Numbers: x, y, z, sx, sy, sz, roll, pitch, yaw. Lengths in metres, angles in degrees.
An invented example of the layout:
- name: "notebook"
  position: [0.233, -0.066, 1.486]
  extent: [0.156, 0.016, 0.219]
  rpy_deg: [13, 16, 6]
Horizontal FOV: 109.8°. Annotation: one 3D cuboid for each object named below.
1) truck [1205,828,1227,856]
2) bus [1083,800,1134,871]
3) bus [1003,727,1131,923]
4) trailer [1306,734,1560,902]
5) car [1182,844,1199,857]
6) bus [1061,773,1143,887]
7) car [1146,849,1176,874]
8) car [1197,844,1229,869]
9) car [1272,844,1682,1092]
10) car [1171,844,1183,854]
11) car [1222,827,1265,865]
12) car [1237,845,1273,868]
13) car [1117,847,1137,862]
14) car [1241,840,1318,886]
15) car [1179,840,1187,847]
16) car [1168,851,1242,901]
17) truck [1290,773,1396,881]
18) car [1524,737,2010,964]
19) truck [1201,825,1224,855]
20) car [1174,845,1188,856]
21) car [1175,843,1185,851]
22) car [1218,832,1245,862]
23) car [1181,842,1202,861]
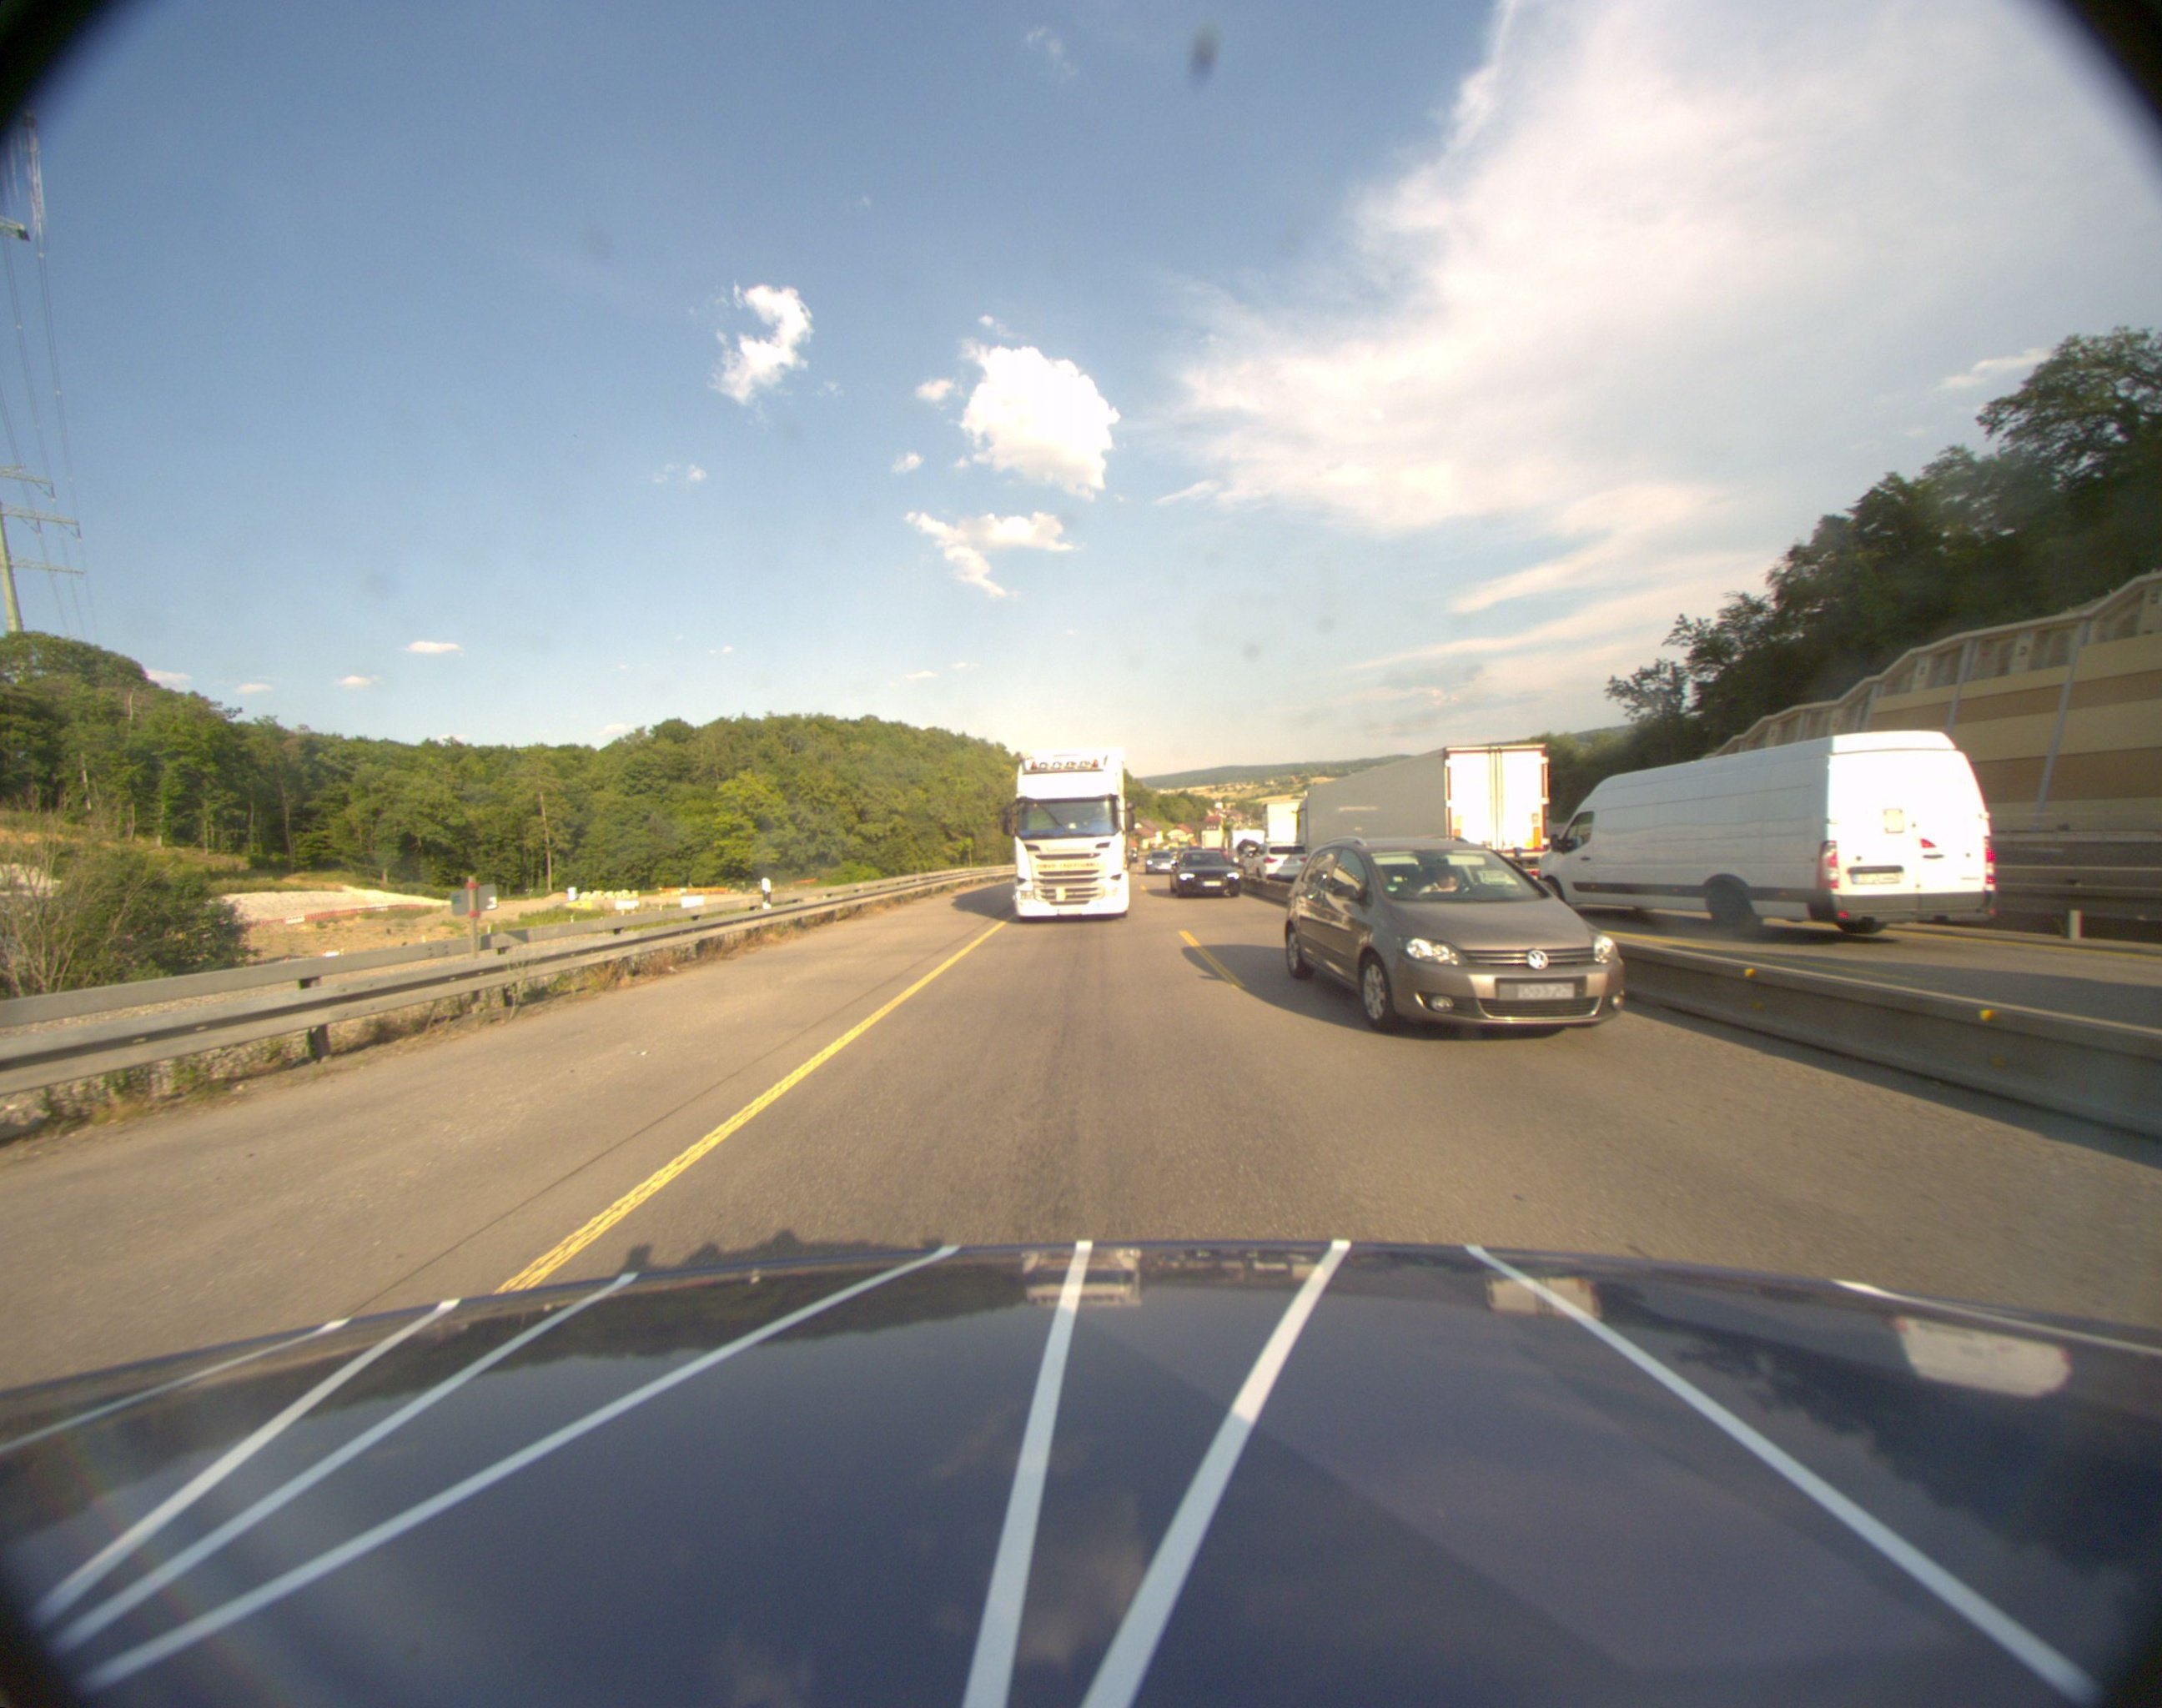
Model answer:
- name: "truck"
  position: [17.640, -1.545, 99.491]
  extent: [2.452, 3.443, 7.621]
  rpy_deg: [-1, 1, 8]
- name: "bus"
  position: [2.165, -1.261, 54.936]
  extent: [2.984, 4.553, 10.906]
  rpy_deg: [-1, 0, 5]
- name: "bus"
  position: [0.009, -0.716, 21.582]
  extent: [2.635, 4.077, 11.314]
  rpy_deg: [-1, 1, 3]
- name: "trailer"
  position: [10.940, -1.000, 26.103]
  extent: [2.727, 4.194, 13.748]
  rpy_deg: [-2, 1, 2]
- name: "car"
  position: [13.211, -0.379, 91.884]
  extent: [1.821, 1.569, 4.757]
  rpy_deg: [0, 0, 5]
- name: "bus"
  position: [1.253, -0.997, 35.915]
  extent: [2.984, 4.553, 9.971]
  rpy_deg: [-1, 0, 6]
- name: "car"
  position: [4.924, 0.443, 46.371]
  extent: [1.697, 1.390, 4.002]
  rpy_deg: [-3, 0, 7]
- name: "car"
  position: [9.187, 0.168, 53.120]
  extent: [1.891, 1.559, 4.457]
  rpy_deg: [-3, 0, 6]
- name: "car"
  position: [3.103, 0.725, 7.011]
  extent: [1.688, 1.565, 4.099]
  rpy_deg: [-2, 1, 1]
- name: "car"
  position: [16.433, -0.826, 130.587]
  extent: [1.821, 1.569, 4.757]
  rpy_deg: [0, 0, 5]
- name: "car"
  position: [13.178, -0.677, 62.171]
  extent: [2.339, 2.901, 7.633]
  rpy_deg: [-1, 1, 4]
- name: "car"
  position: [12.212, 0.147, 53.582]
  extent: [1.752, 1.414, 4.610]
  rpy_deg: [-2, 1, 5]
- name: "car"
  position: [5.385, 0.052, 89.988]
  extent: [1.999, 1.630, 3.999]
  rpy_deg: [-2, 1, -1]
- name: "car"
  position: [7.407, 0.295, 28.880]
  extent: [1.873, 1.579, 4.804]
  rpy_deg: [-1, 1, 3]
- name: "car"
  position: [28.135, -2.911, 209.940]
  extent: [1.821, 1.988, 4.757]
  rpy_deg: [0, 0, 5]
- name: "car"
  position: [3.869, 0.641, 24.256]
  extent: [1.866, 1.391, 4.000]
  rpy_deg: [-1, 1, 3]
- name: "truck"
  position: [11.169, -1.096, 32.940]
  extent: [2.719, 4.194, 5.682]
  rpy_deg: [-2, 1, 2]
- name: "car"
  position: [10.393, -0.076, 12.743]
  extent: [2.026, 2.674, 6.949]
  rpy_deg: [-3, 1, 2]
- name: "truck"
  position: [19.521, -2.107, 113.516]
  extent: [2.713, 4.065, 14.159]
  rpy_deg: [-1, 1, 7]
- name: "car"
  position: [14.782, -0.520, 112.282]
  extent: [1.821, 1.569, 4.757]
  rpy_deg: [0, 0, 5]
- name: "car"
  position: [19.433, -1.375, 149.395]
  extent: [1.821, 1.569, 4.757]
  rpy_deg: [0, 0, 5]
- name: "car"
  position: [14.015, -0.680, 71.133]
  extent: [1.960, 2.606, 5.750]
  rpy_deg: [-1, 1, 7]
- name: "car"
  position: [10.633, -0.219, 73.416]
  extent: [1.808, 1.761, 5.456]
  rpy_deg: [-2, -1, 7]
